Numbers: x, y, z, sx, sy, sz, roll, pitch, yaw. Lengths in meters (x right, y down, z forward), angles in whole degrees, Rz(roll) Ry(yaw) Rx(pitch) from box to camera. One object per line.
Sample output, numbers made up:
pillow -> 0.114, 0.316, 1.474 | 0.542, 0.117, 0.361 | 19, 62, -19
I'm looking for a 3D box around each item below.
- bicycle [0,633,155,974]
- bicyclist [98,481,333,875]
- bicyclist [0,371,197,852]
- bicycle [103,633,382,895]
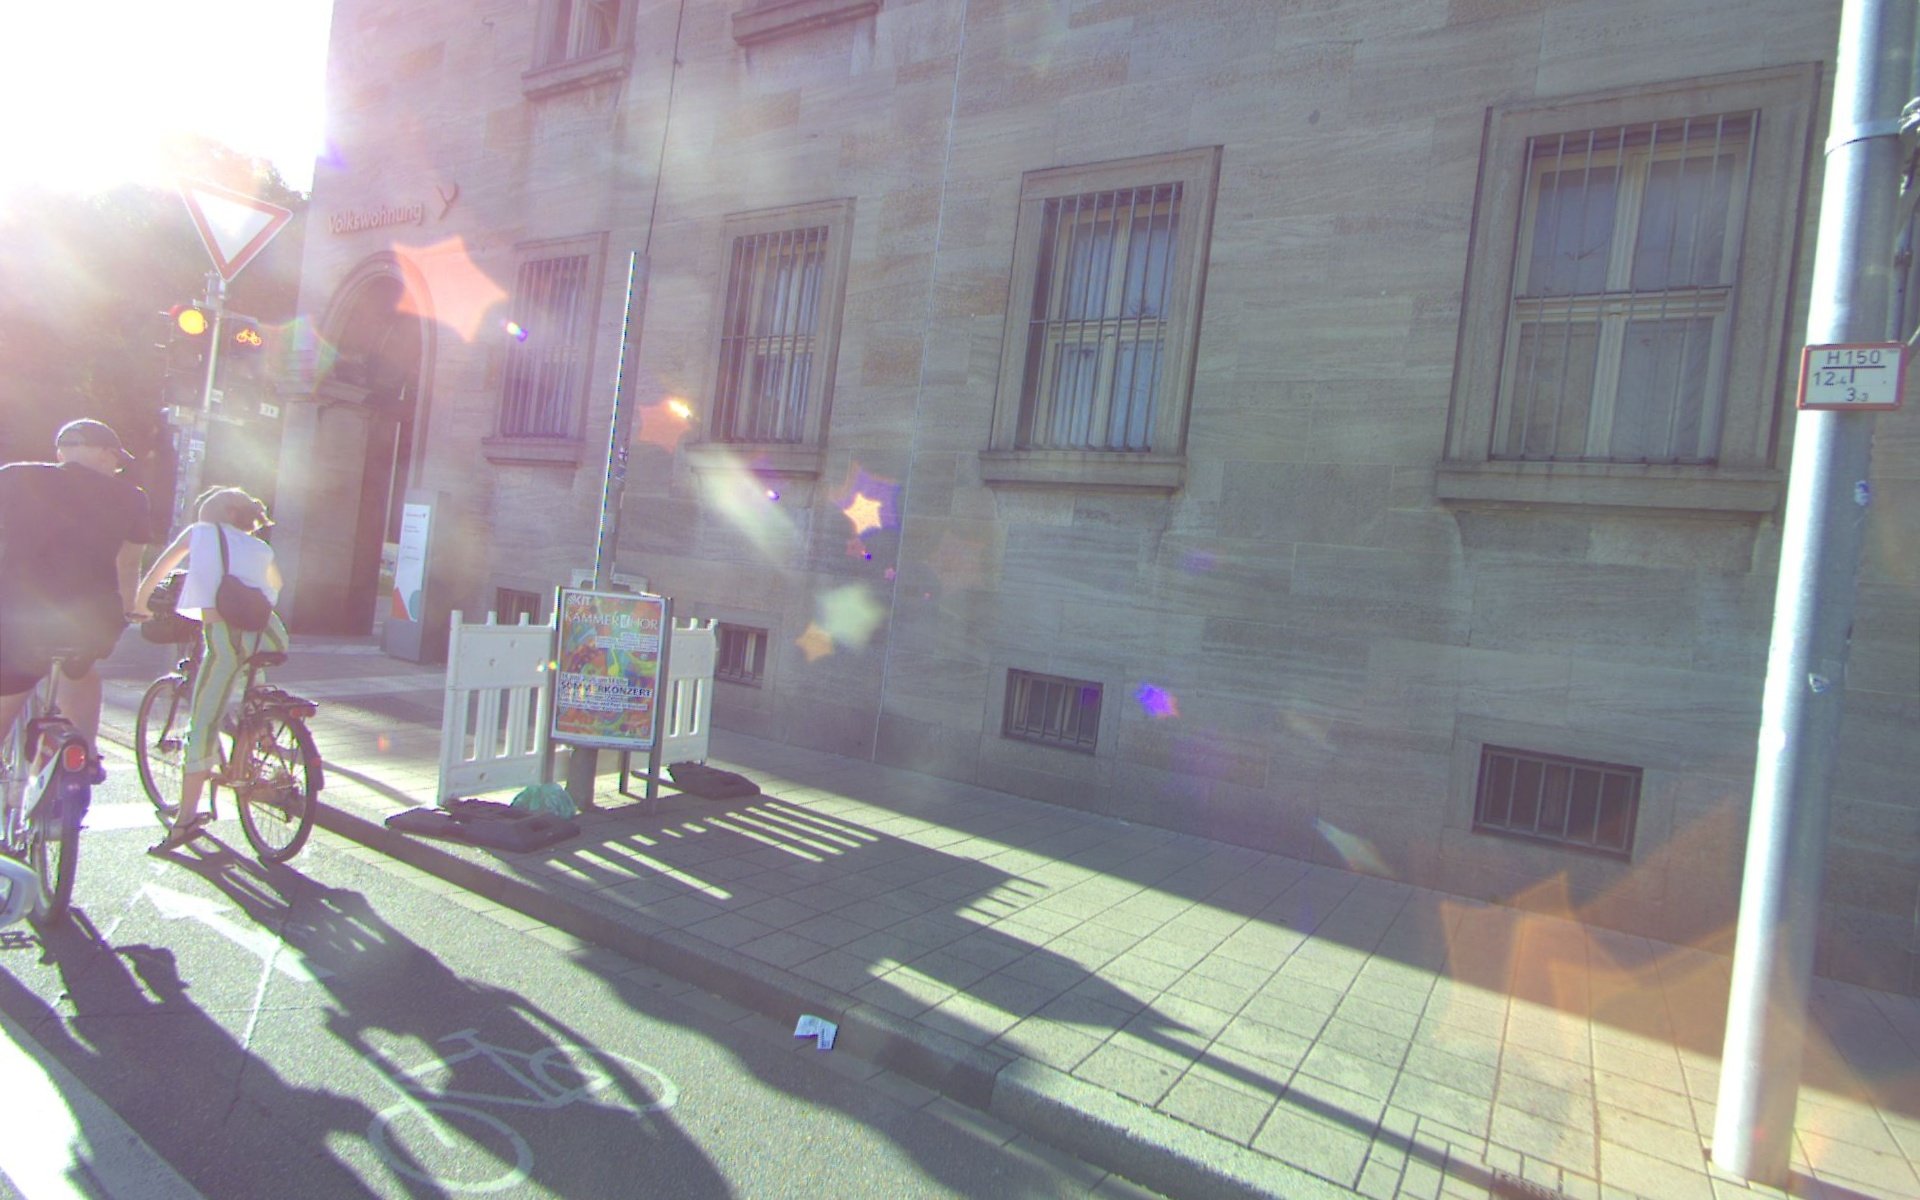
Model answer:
bicycle -> -3.717, 0.692, 4.000 | 1.923, 0.916, 0.388 | 7, 0, 41
bicyclist -> -3.580, 0.334, 4.831 | 0.845, 1.700, 0.522 | 7, 1, 35
bicyclist -> -3.521, 0.042, 3.886 | 0.647, 1.698, 0.669 | 7, 1, 42
bicycle -> -3.580, 0.724, 4.945 | 1.920, 0.887, 0.427 | 7, 0, 35
